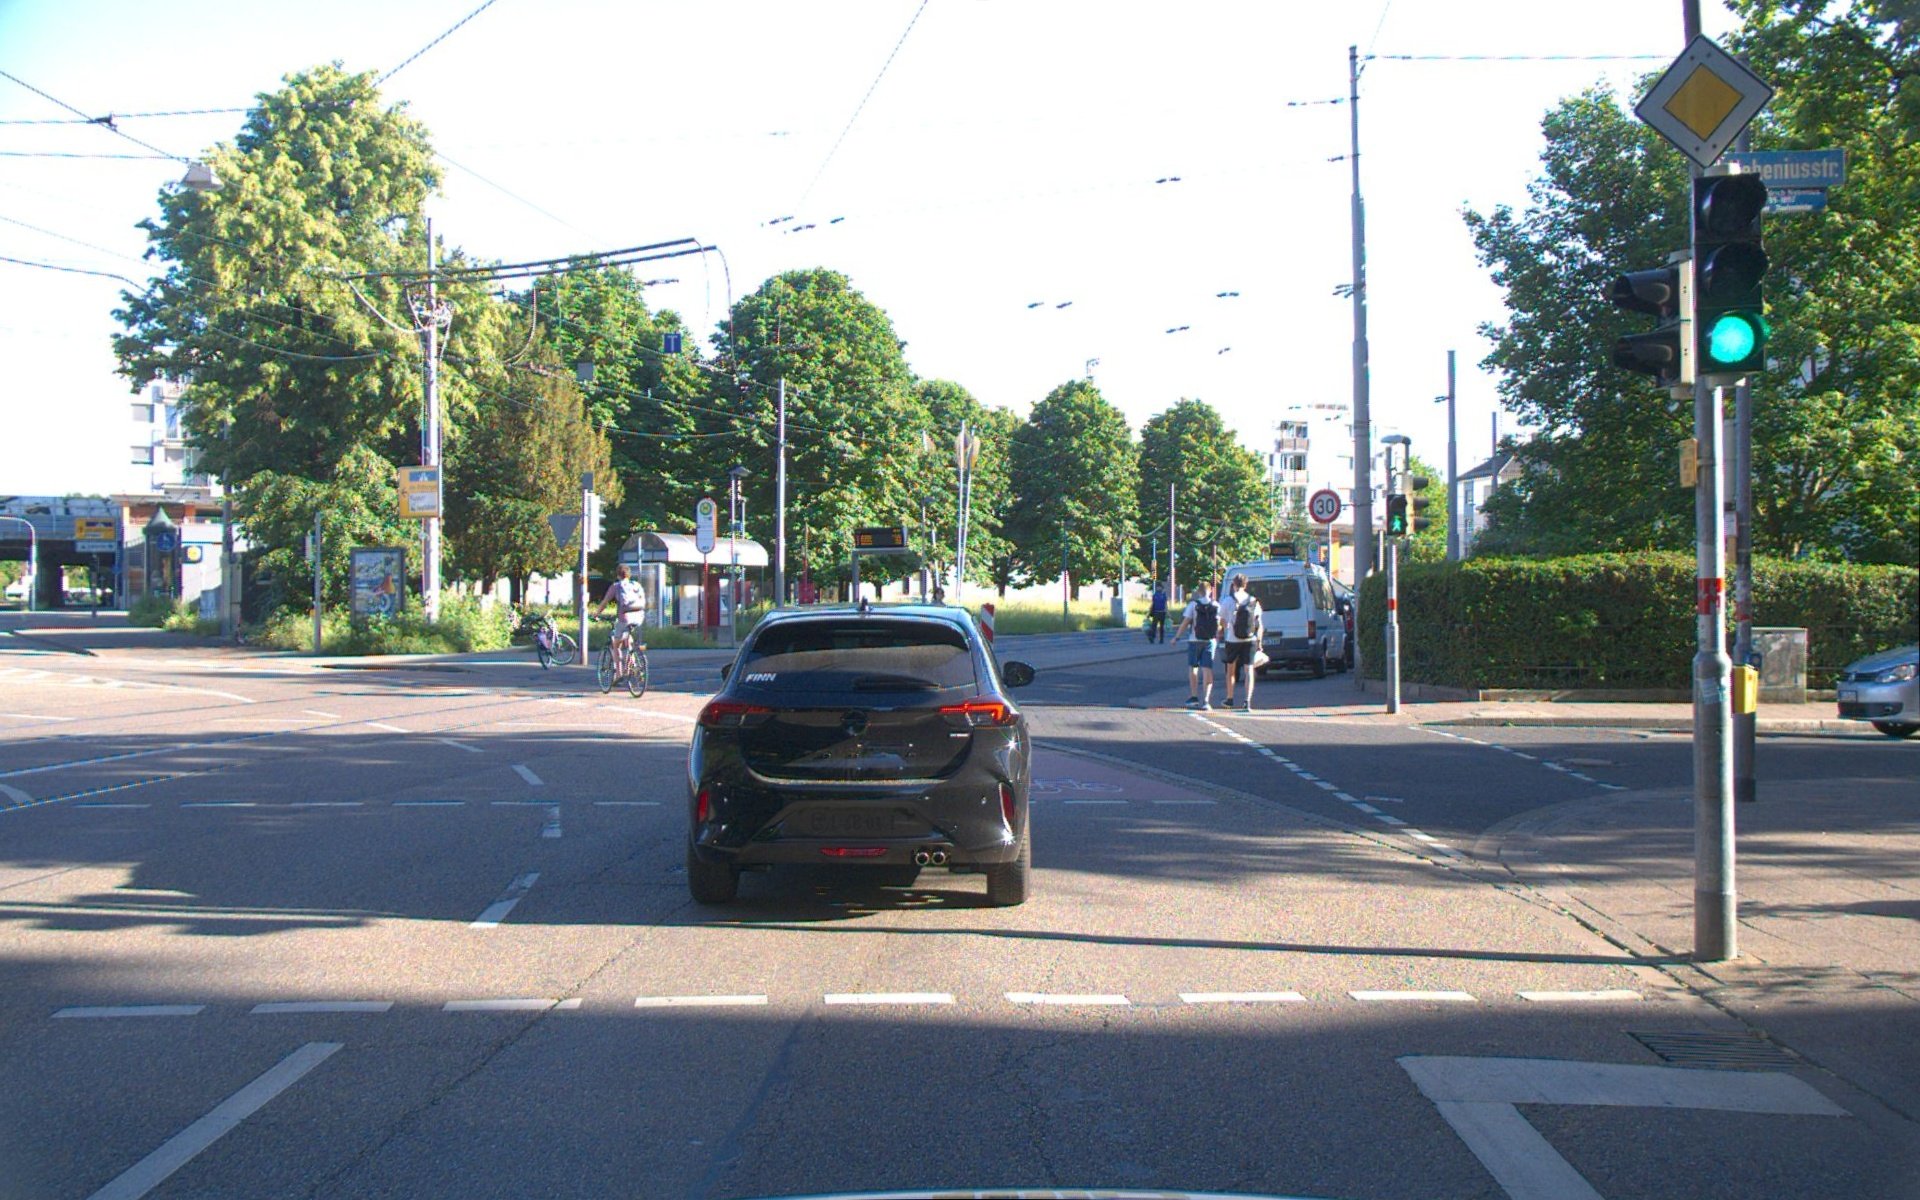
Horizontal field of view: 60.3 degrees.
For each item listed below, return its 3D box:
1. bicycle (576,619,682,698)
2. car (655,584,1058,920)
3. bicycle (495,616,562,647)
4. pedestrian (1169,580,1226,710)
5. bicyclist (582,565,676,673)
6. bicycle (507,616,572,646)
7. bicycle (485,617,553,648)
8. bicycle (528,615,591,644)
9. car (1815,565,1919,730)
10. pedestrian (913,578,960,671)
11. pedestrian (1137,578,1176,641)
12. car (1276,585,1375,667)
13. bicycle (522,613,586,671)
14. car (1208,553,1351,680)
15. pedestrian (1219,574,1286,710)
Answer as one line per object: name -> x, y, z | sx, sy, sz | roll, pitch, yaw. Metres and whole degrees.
bicycle -> -4.888, 0.838, 24.362 | 0.663, 1.078, 2.052 | 0, 0, -39
car -> -0.514, 0.661, 9.237 | 1.764, 1.466, 3.938 | 0, 0, -2
bicycle -> -13.101, 0.958, 50.262 | 1.837, 0.922, 0.660 | 0, 0, 3
pedestrian -> 3.387, 0.629, 23.626 | 0.684, 1.823, 0.617 | 0, 0, -4
bicyclist -> -4.879, 0.263, 24.327 | 0.835, 1.536, 1.349 | 0, 0, -39
bicycle -> -13.007, 0.952, 51.140 | 1.837, 0.922, 0.660 | 0, 0, 3
bicycle -> -13.136, 0.962, 49.274 | 1.837, 0.922, 0.660 | 0, 0, 3
bicycle -> -12.834, 0.947, 53.010 | 1.837, 0.922, 0.660 | 0, 0, 3
car -> 12.491, 0.566, 19.271 | 4.088, 1.846, 1.807 | 0, -3, 5
pedestrian -> -0.447, 0.444, 31.085 | 0.688, 1.722, 0.724 | 0, 0, -19
pedestrian -> 5.795, 0.275, 48.739 | 0.939, 1.824, 0.995 | 0, 0, 22
car -> 8.437, 0.559, 37.968 | 1.763, 1.794, 3.892 | 0, 0, 19
bicycle -> -7.936, 0.803, 32.372 | 0.808, 1.078, 1.882 | 0, 0, -1
car -> 6.376, 0.338, 32.626 | 2.046, 2.317, 4.306 | 1, -1, 21
pedestrian -> 4.129, 0.582, 23.314 | 0.691, 1.879, 0.698 | 0, 0, 36
